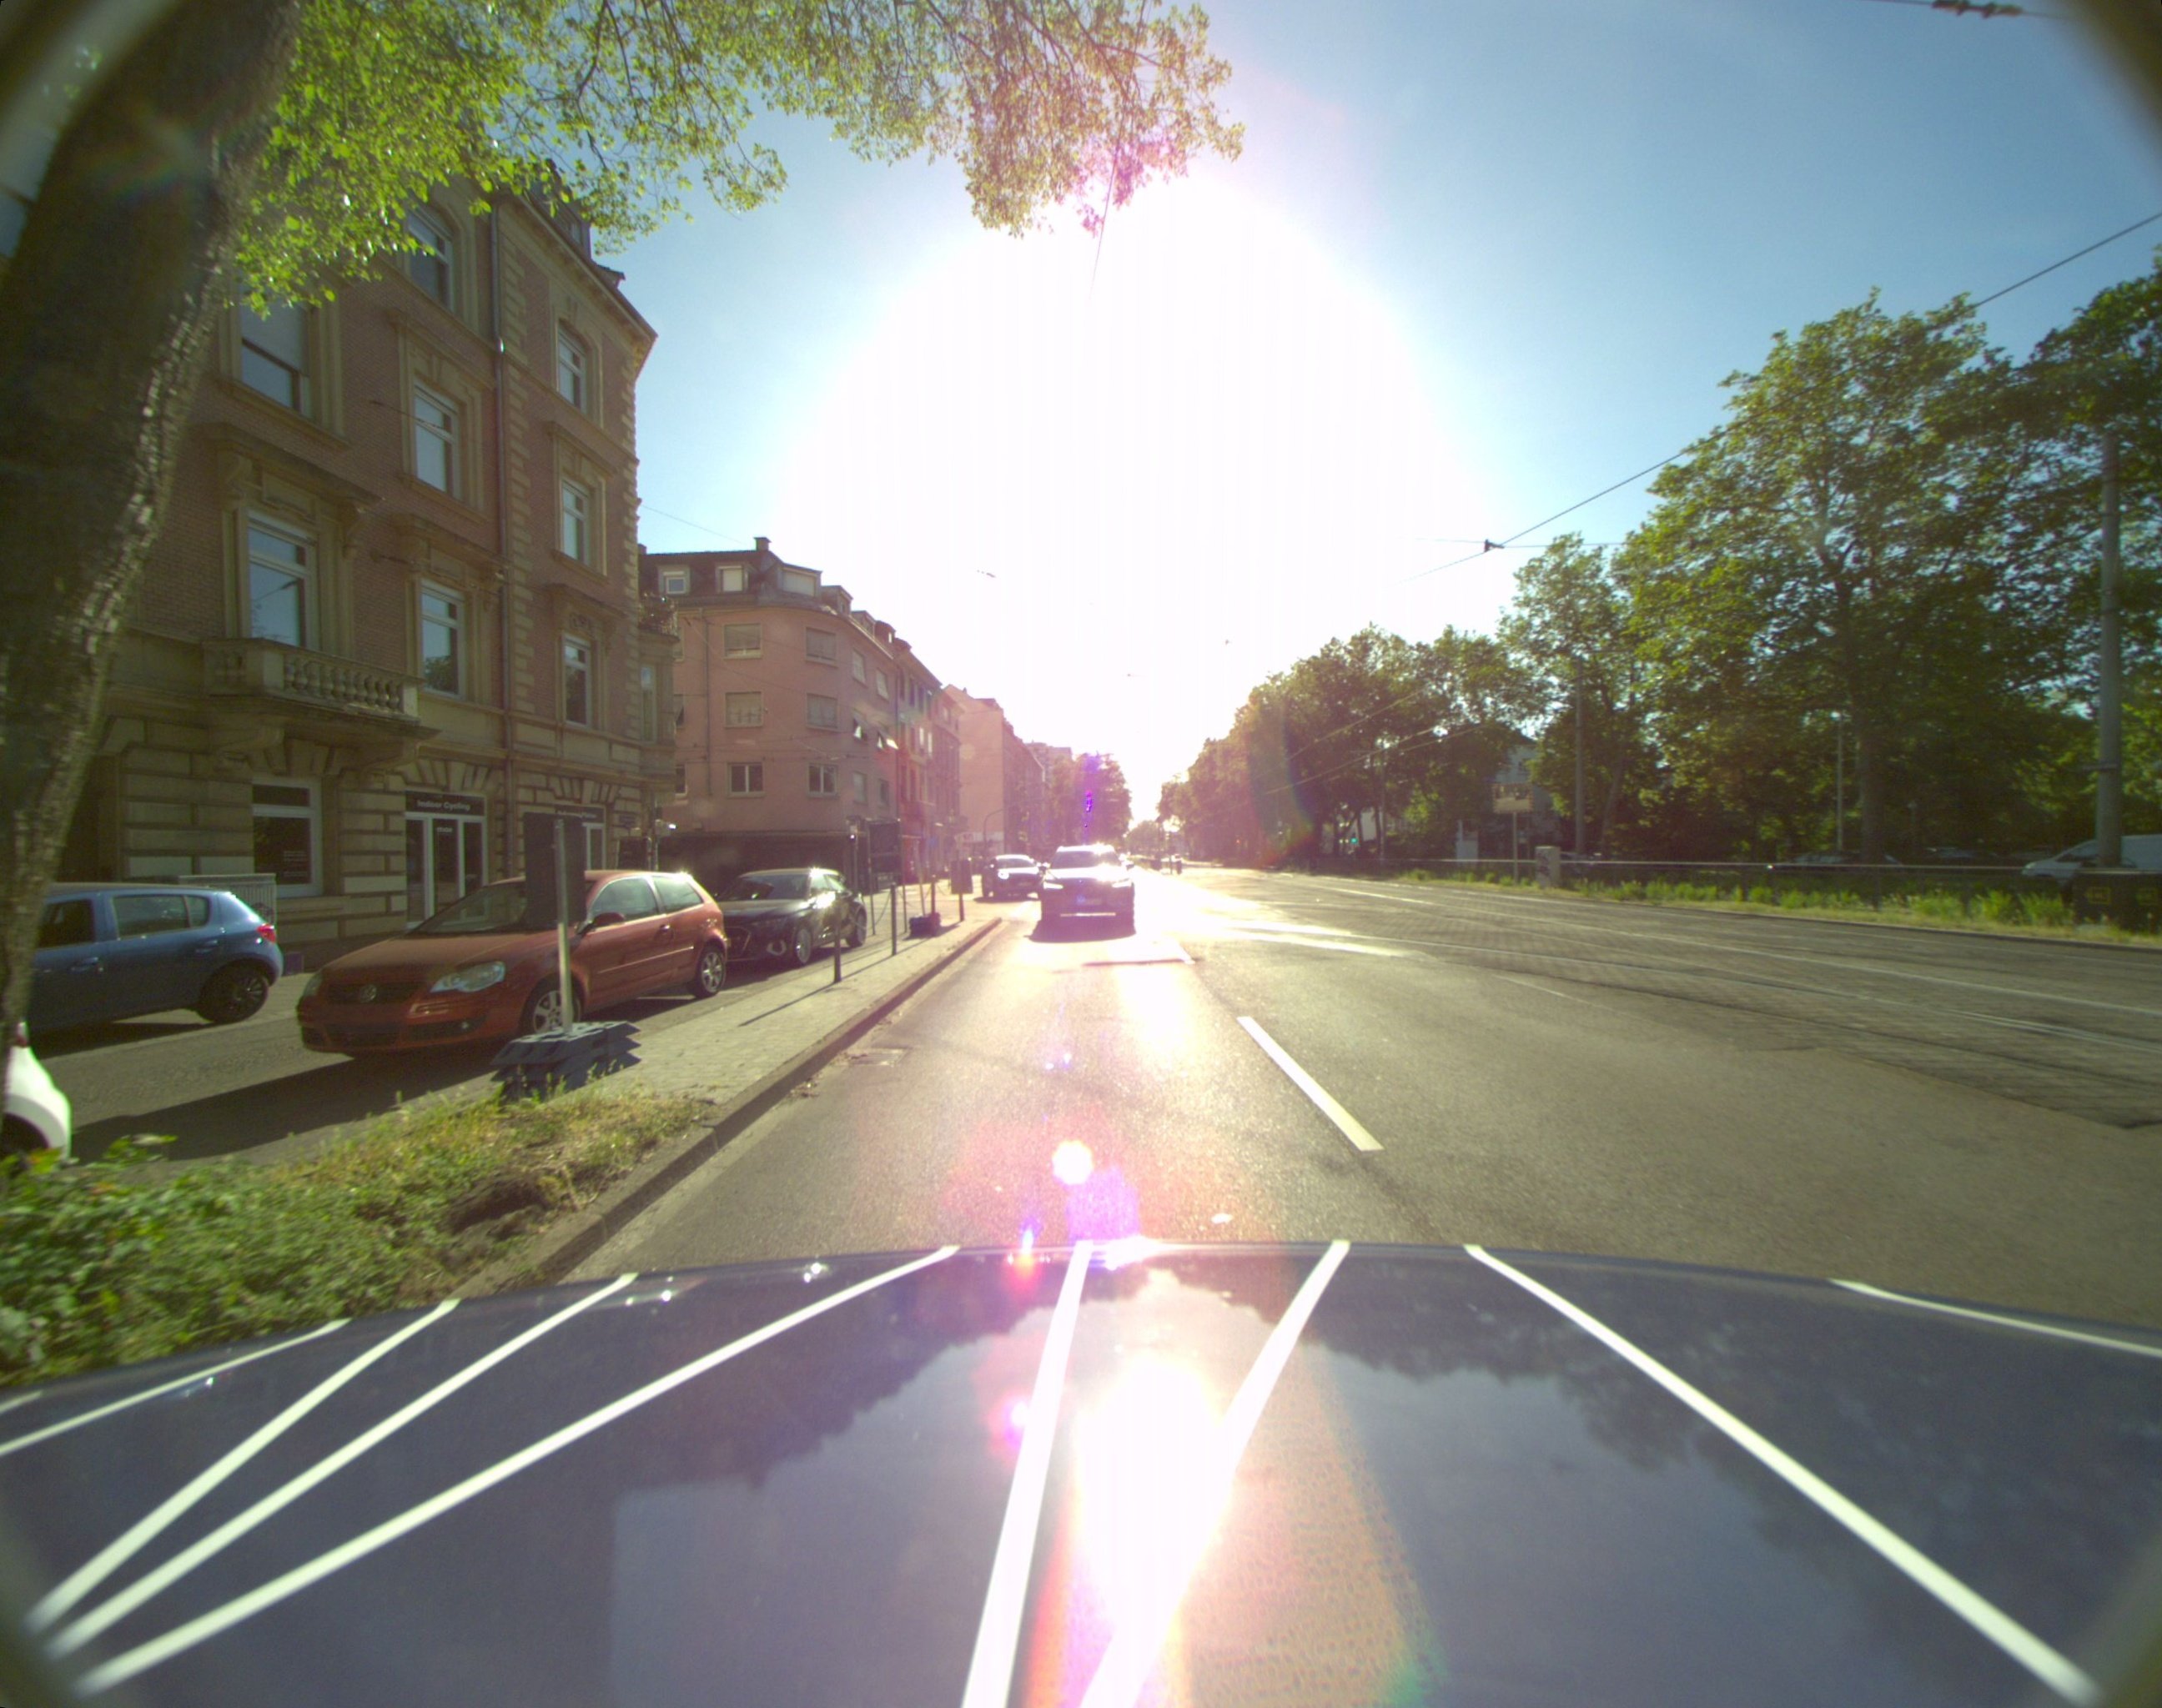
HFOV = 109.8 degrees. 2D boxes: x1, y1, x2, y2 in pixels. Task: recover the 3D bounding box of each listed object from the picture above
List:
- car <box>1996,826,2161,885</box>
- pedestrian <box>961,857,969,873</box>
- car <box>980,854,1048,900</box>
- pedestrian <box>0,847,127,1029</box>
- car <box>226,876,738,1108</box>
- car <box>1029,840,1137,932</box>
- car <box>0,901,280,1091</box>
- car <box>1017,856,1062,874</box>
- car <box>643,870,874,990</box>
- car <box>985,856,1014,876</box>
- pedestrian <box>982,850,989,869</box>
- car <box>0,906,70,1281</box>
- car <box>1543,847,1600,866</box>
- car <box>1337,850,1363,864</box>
[{"bbox_3d":[28.604,0.017,20.897,1.745,1.462,4.347,-3,0,3],"label":"car"},{"bbox_3d":[-9.310,0.915,60.893,0.495,1.252,0.660,-1,1,5],"label":"pedestrian"},{"bbox_3d":[-2.501,0.801,27.614,1.662,1.473,3.967,-3,0,-16],"label":"car"},{"bbox_3d":[-11.988,0.939,8.863,0.513,2.002,0.852,-3,0,6],"label":"pedestrian"},{"bbox_3d":[-5.026,1.018,7.199,1.593,1.426,3.906,-3,0,2],"label":"car"},{"bbox_3d":[0.098,0.612,16.539,1.968,1.664,4.000,-3,0,2],"label":"car"},{"bbox_3d":[-10.092,1.284,6.766,1.697,1.471,4.000,1,0,0],"label":"car"},{"bbox_3d":[-3.835,1.014,70.732,1.812,1.442,4.008,-3,0,39],"label":"car"},{"bbox_3d":[-4.793,1.043,12.034,1.700,1.413,4.170,-3,0,2],"label":"car"},{"bbox_3d":[-6.457,0.934,60.368,1.739,1.510,4.000,1,0,2],"label":"car"},{"bbox_3d":[-8.893,0.524,70.905,0.495,1.752,0.660,-1,1,2],"label":"pedestrian"},{"bbox_3d":[-5.116,0.985,1.346,1.630,1.468,3.697,-3,0,0],"label":"car"},{"bbox_3d":[29.138,0.151,45.233,1.503,1.043,3.129,-3,0,3],"label":"car"},{"bbox_3d":[31.153,0.351,88.052,1.722,1.462,3.757,-3,0,0],"label":"car"}]
